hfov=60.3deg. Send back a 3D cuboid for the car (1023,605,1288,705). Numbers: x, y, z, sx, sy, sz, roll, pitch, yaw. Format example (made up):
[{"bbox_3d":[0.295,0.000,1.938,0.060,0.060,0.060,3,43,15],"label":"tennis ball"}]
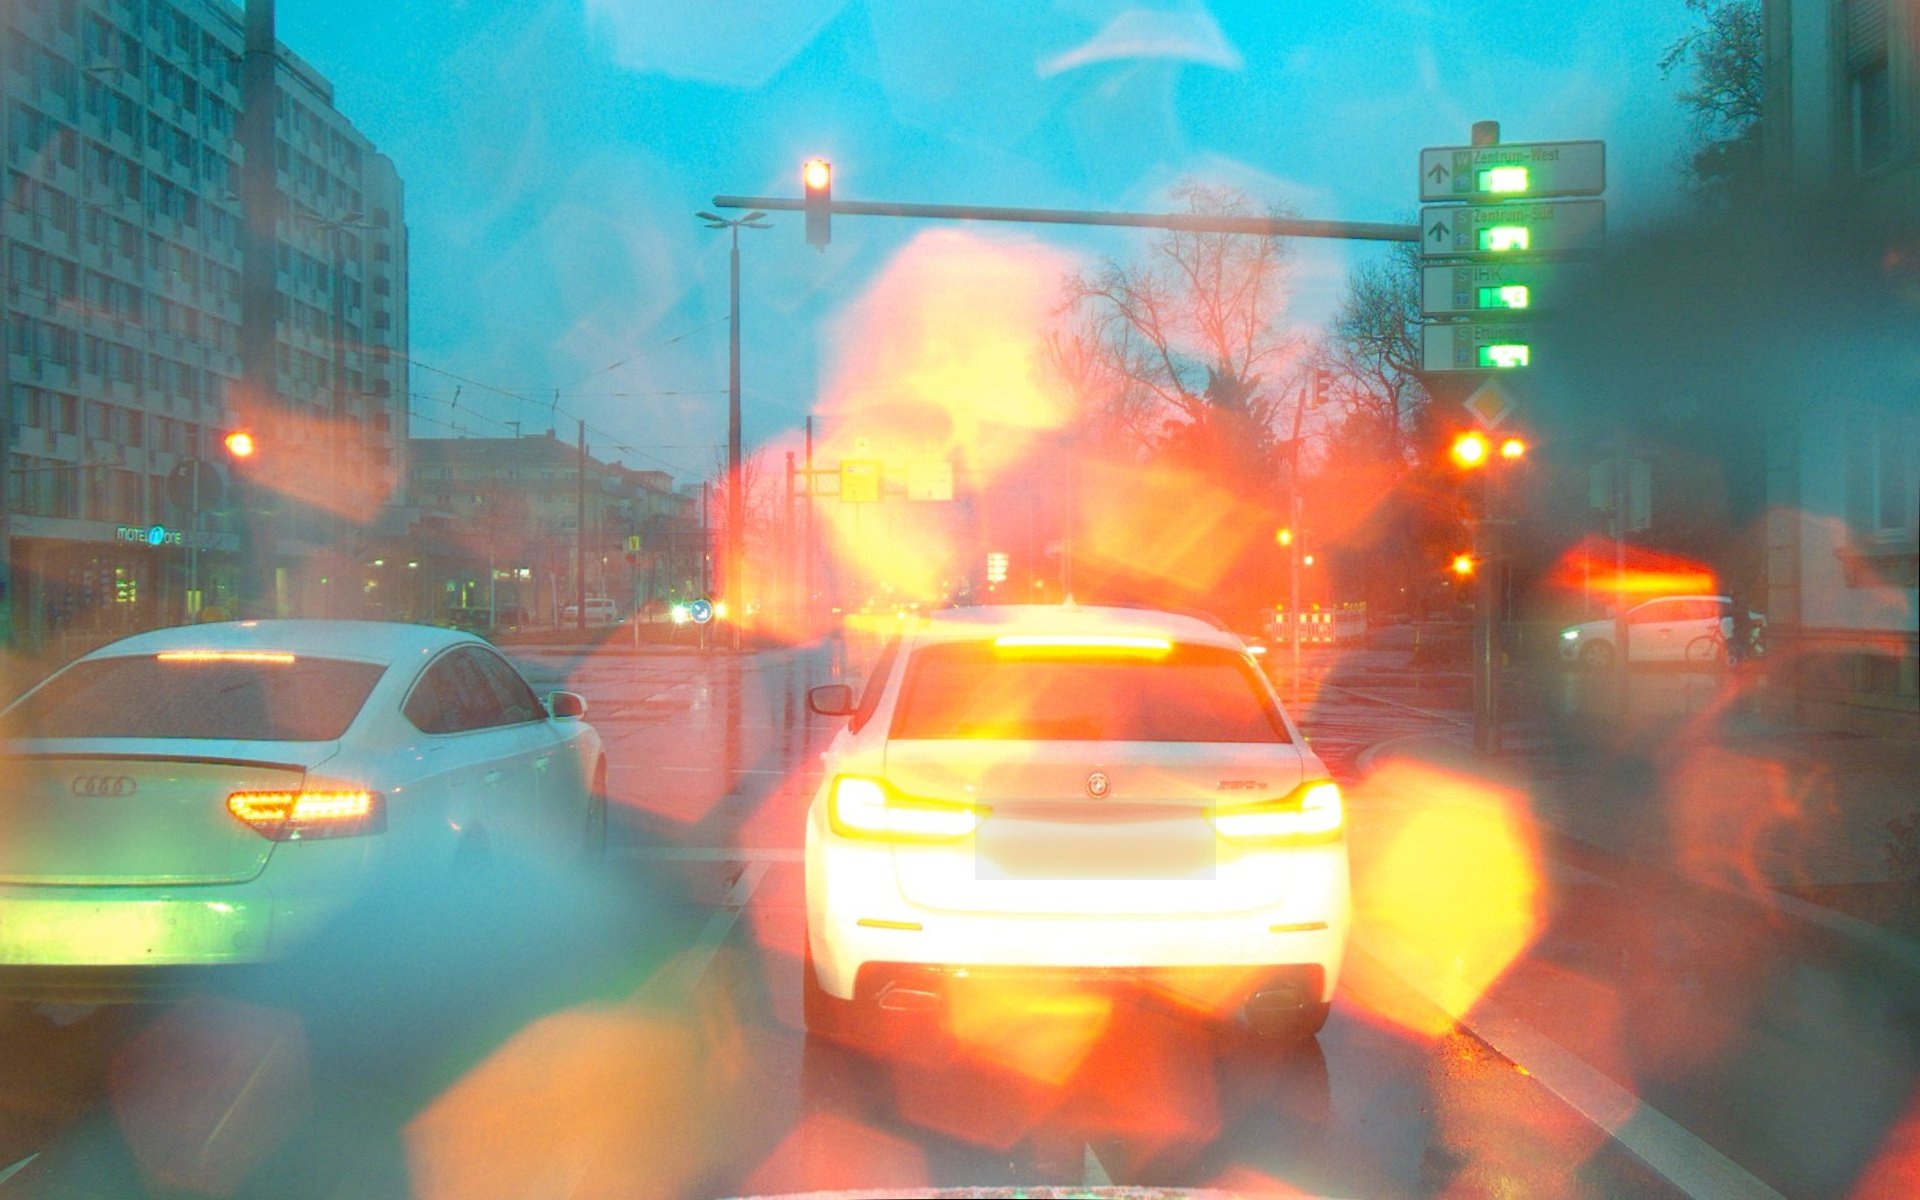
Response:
[{"bbox_3d":[3.384,0.917,28.509,4.223,1.557,1.763,1,-1,20],"label":"car"}]

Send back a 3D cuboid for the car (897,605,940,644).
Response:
[{"bbox_3d":[-1.829,1.065,72.364,1.806,1.637,3.943,1,-1,-2],"label":"car"}]

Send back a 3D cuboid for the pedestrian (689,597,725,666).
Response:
[{"bbox_3d":[-7.118,0.880,46.513,0.888,1.888,0.809,2,-1,-16],"label":"pedestrian"}]

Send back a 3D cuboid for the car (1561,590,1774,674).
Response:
[{"bbox_3d":[14.355,0.632,33.721,3.874,1.581,1.749,1,-1,22],"label":"car"}]

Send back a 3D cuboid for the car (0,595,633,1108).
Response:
[{"bbox_3d":[-2.709,0.729,7.003,1.954,1.481,4.366,0,0,-3],"label":"car"}]

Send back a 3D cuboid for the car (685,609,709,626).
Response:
[{"bbox_3d":[-23.824,1.578,149.835,1.641,1.534,3.695,1,-1,-1],"label":"car"}]

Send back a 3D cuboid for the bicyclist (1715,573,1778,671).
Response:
[{"bbox_3d":[14.786,0.417,31.116,0.952,1.789,0.813,1,-1,19],"label":"bicyclist"}]

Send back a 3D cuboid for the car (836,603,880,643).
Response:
[{"bbox_3d":[-4.432,0.994,71.476,1.807,1.637,3.941,1,-1,-4],"label":"car"}]

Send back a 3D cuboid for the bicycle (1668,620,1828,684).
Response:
[{"bbox_3d":[14.774,0.971,31.100,2.611,1.108,0.815,1,-1,18],"label":"bicycle"}]

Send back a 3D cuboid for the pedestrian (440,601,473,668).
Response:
[{"bbox_3d":[-13.427,0.923,44.147,0.777,1.741,0.809,2,-1,-16],"label":"pedestrian"}]

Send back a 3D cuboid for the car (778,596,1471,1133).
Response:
[{"bbox_3d":[0.373,0.737,6.832,1.954,1.481,4.366,0,0,-3],"label":"car"}]
